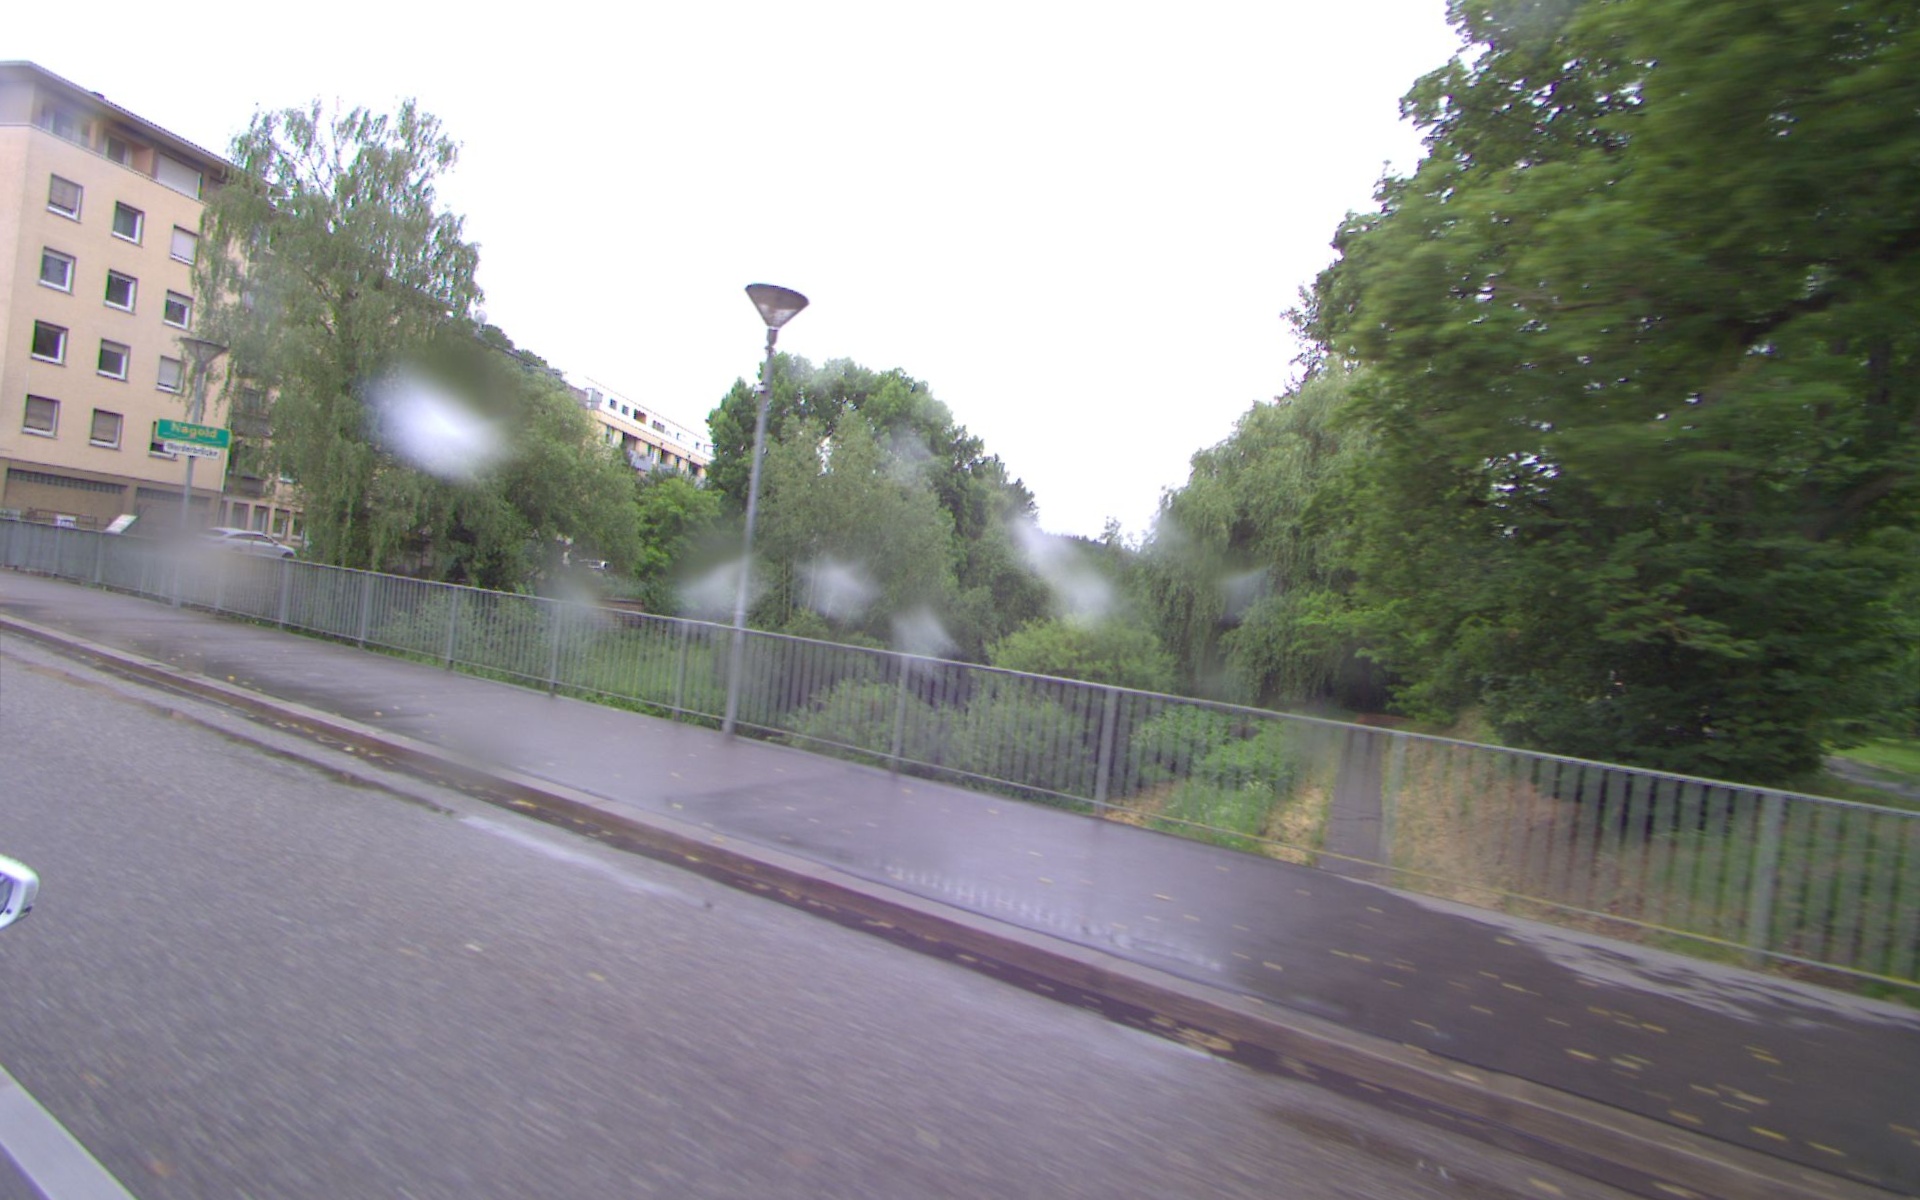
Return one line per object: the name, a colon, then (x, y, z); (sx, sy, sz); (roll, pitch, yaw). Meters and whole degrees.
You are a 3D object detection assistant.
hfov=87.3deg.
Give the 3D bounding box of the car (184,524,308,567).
car: (-32.872, -2.471, 46.459); (1.782, 1.393, 4.455); (9, 0, 15)
